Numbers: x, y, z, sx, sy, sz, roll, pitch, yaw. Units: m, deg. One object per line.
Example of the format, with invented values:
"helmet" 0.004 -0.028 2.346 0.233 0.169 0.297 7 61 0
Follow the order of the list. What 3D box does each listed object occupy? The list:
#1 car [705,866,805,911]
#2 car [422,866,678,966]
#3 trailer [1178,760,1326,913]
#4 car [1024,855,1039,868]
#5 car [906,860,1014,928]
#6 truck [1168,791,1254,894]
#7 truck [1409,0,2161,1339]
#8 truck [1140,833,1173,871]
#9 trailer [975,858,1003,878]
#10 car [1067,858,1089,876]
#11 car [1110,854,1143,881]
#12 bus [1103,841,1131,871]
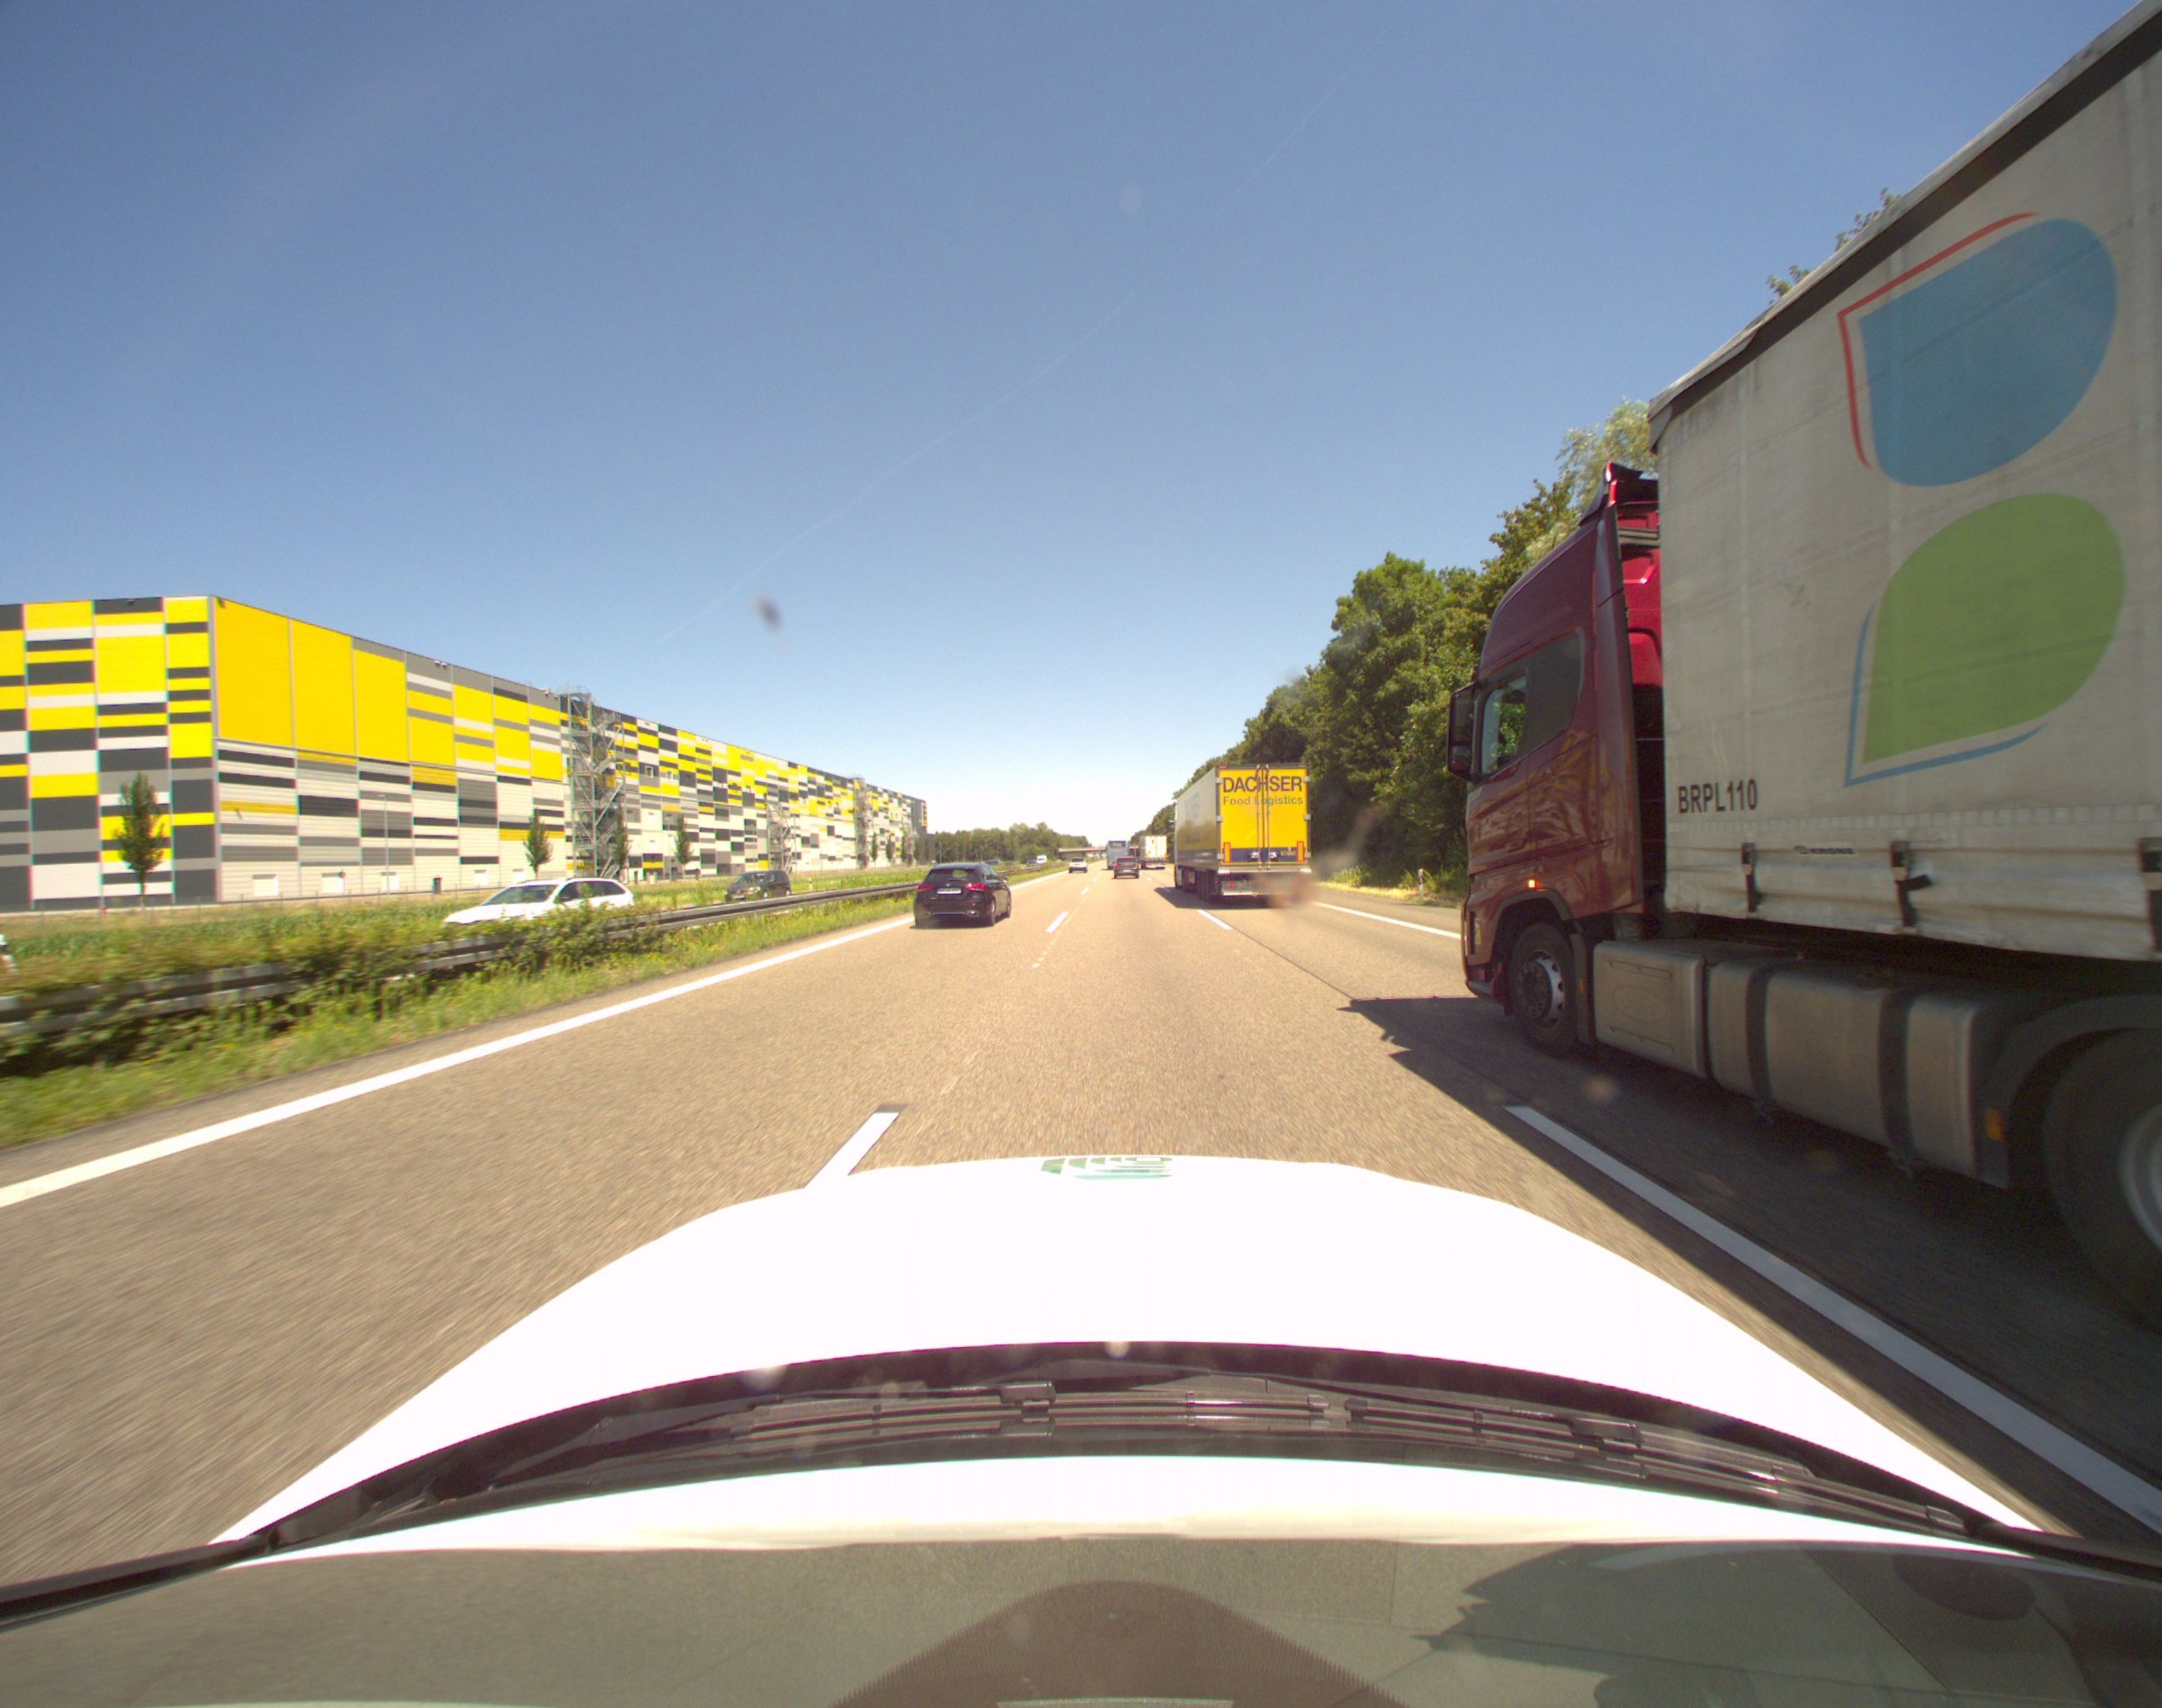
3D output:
"car" -15.352 1.558 38.772 2.307 1.815 5.354 -3 0 3
"car" -11.679 1.245 18.552 2.037 1.806 5.421 -3 0 2
"trailer" 5.195 -0.466 27.269 2.824 3.953 11.689 -1 0 2
"car" -7.508 1.165 123.777 1.905 1.788 4.482 -3 0 1
"car" -2.795 0.876 19.659 1.785 1.412 4.055 -1 0 3
"truck" 5.535 -0.429 35.696 2.802 4.006 6.647 -2 0 2
"truck" 4.737 -0.801 5.000 3.076 4.441 6.055 -1 -1 1
"truck" 8.832 -0.212 96.212 3.408 4.126 9.572 -3 0 3
"trailer" -9.096 1.386 80.849 1.937 1.789 5.238 -3 0 1
"car" -0.275 1.272 81.804 1.986 1.728 4.132 -1 0 1
"car" 3.249 0.945 58.510 2.207 1.790 5.396 -2 0 2
"bus" 4.255 0.232 98.862 3.052 3.326 8.275 -3 0 1
